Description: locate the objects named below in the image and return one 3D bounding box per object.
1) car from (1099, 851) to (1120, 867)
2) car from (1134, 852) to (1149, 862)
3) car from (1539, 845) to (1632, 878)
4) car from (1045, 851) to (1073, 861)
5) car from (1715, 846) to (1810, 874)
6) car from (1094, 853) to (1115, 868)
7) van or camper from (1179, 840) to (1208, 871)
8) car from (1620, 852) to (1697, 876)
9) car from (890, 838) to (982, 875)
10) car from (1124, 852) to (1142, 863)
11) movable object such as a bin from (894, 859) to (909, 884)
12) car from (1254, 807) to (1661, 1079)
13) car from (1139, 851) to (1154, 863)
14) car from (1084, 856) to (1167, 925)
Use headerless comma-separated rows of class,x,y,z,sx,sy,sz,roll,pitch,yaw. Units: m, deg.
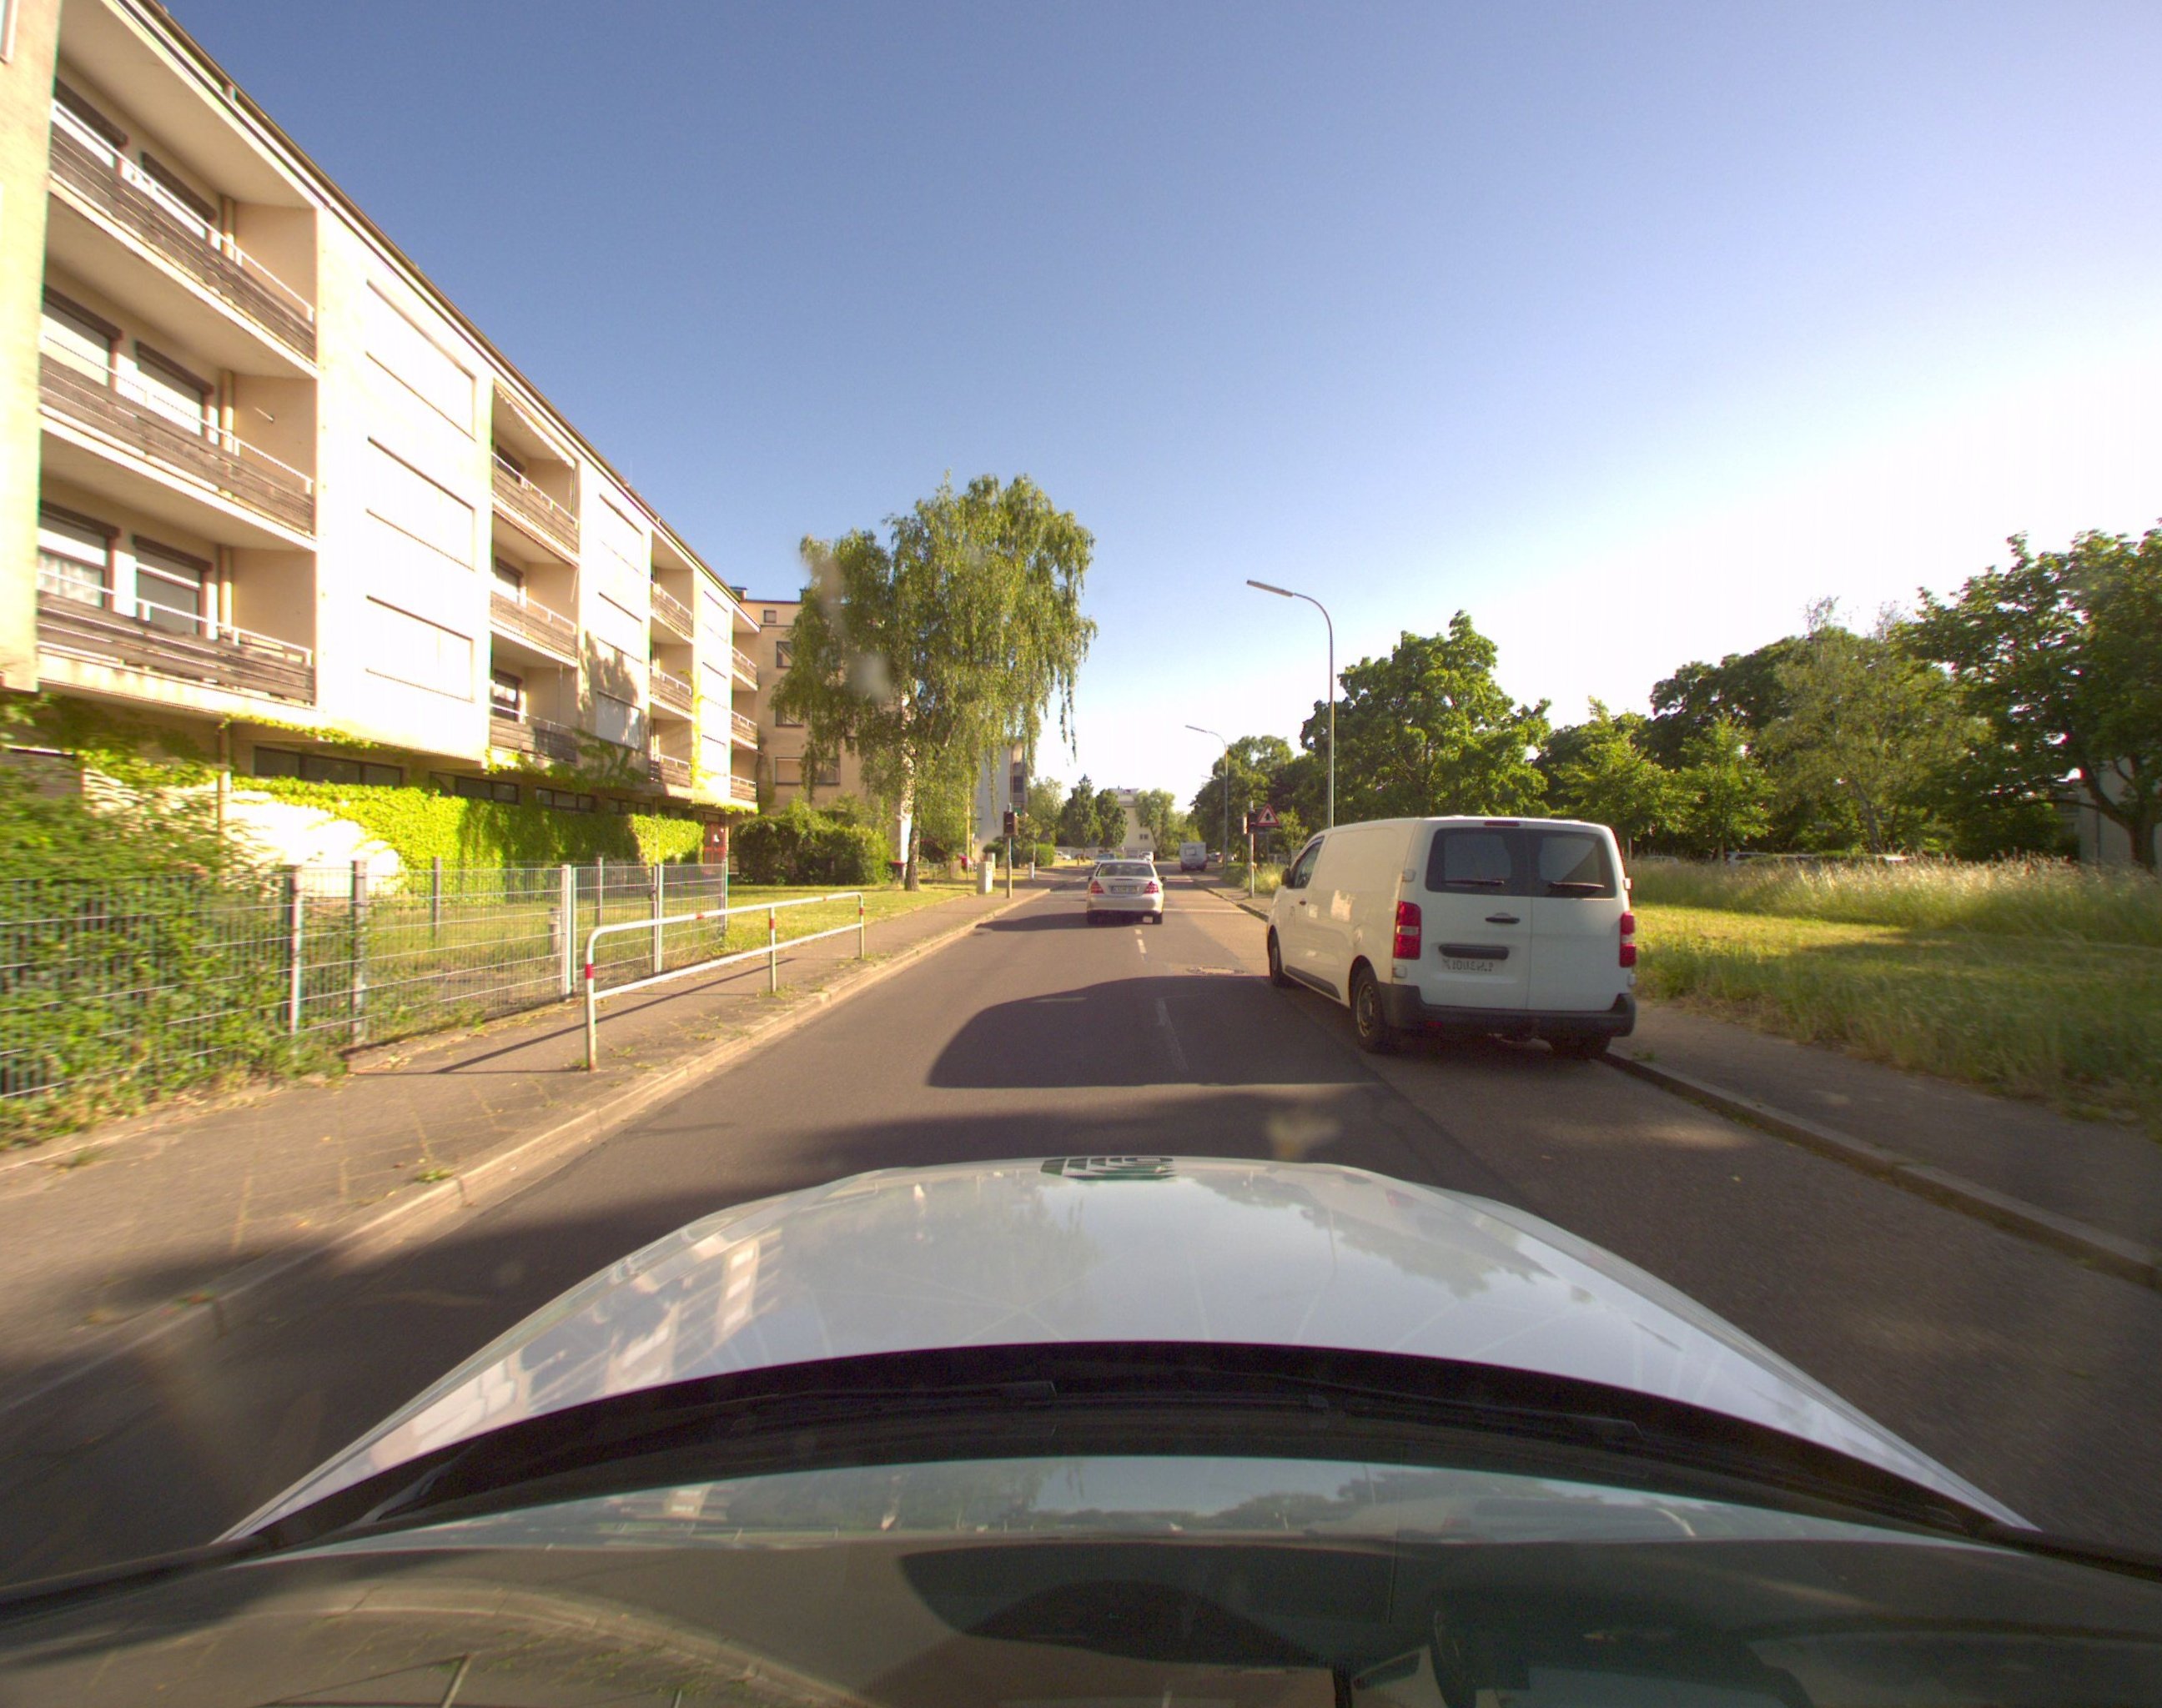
car,3.137,0.556,89.339,1.904,1.603,4.820,2,1,6
car,9.760,0.540,130.541,1.821,1.518,4.234,2,0,11
car,31.580,0.449,51.083,4.473,2.012,2.282,0,0,13
car,-4.409,0.414,162.122,5.065,1.951,2.247,0,0,17
car,45.024,0.380,53.884,4.423,1.807,2.007,0,0,13
car,2.401,0.618,83.081,1.637,1.466,4.340,1,0,8
van or camper,10.053,0.118,73.266,2.339,2.596,6.438,-3,0,7
car,39.392,0.646,55.644,3.845,1.611,2.004,0,0,7
car,-10.071,0.143,56.898,5.878,2.428,2.216,-1,1,4
car,7.602,0.492,117.863,2.022,1.492,5.271,3,1,10
movable object such as a bin,-7.546,0.717,34.171,0.564,1.053,0.554,0,0,-18
car,3.162,0.618,8.156,1.908,1.871,4.867,1,0,1
car,11.021,0.446,136.934,2.001,1.885,5.206,2,0,11
car,1.036,0.782,18.908,1.726,1.434,3.441,0,0,3
